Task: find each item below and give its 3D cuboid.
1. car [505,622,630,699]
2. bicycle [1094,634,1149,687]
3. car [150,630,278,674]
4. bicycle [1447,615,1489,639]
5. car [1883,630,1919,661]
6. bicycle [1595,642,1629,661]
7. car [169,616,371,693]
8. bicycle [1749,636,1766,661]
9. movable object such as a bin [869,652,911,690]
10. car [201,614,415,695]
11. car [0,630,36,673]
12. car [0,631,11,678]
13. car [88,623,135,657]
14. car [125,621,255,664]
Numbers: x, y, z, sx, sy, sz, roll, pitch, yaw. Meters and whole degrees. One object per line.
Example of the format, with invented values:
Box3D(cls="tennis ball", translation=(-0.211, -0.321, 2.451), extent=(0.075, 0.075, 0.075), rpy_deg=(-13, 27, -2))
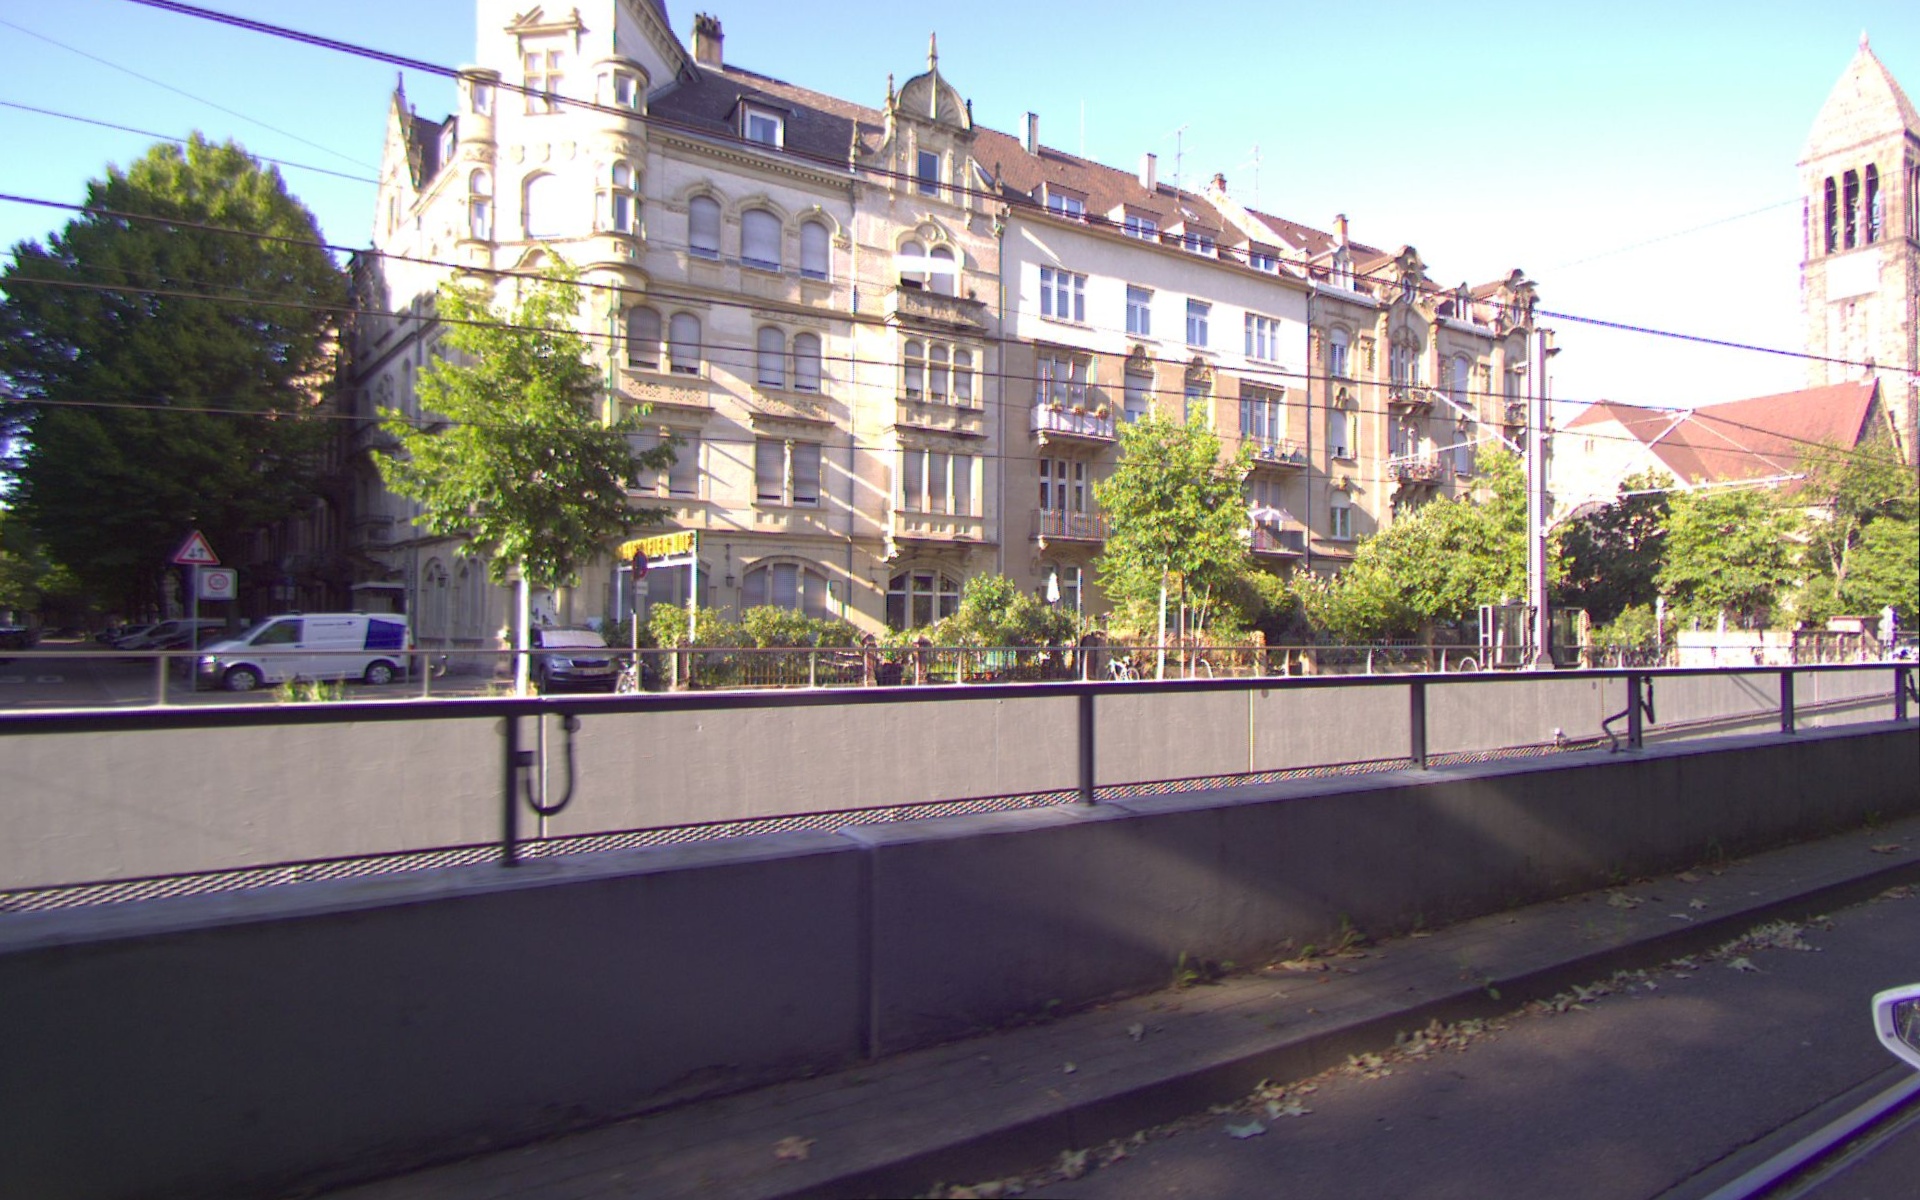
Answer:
Box3D(cls="car", translation=(-9.790, 1.424, 24.873), extent=(1.809, 1.646, 3.955), rpy_deg=(1, 0, -38))
Box3D(cls="bicycle", translation=(4.184, 1.550, 26.120), extent=(0.591, 1.296, 1.726), rpy_deg=(1, -2, -24))
Box3D(cls="car", translation=(-31.293, 2.130, 42.181), extent=(4.182, 1.627, 1.850), rpy_deg=(1, 1, -42))
Box3D(cls="bicycle", translation=(22.777, 1.222, 45.038), extent=(2.084, 1.032, 0.503), rpy_deg=(1, 1, -27))
Box3D(cls="car", translation=(52.495, 2.477, 54.878), extent=(4.454, 1.576, 1.708), rpy_deg=(1, 1, -29))
Box3D(cls="bicycle", translation=(29.026, 2.274, 44.705), extent=(1.863, 0.811, 0.415), rpy_deg=(1, 1, -28))
Box3D(cls="car", translation=(-19.129, 1.431, 27.953), extent=(4.447, 1.874, 1.975), rpy_deg=(1, 1, -42))
Box3D(cls="bicycle", translation=(35.551, 2.157, 44.801), extent=(0.479, 1.036, 1.886), rpy_deg=(2, 1, 36))
Box3D(cls="movable object such as a bin", translation=(-1.866, 1.885, 26.755), extent=(0.776, 0.932, 0.890), rpy_deg=(1, 1, -35))
Box3D(cls="car", translation=(-16.941, 1.328, 26.231), extent=(4.447, 1.874, 1.975), rpy_deg=(1, 1, -42))
Box3D(cls="car", translation=(-46.409, 2.481, 48.980), extent=(4.105, 1.771, 1.788), rpy_deg=(2, 1, 44))
Box3D(cls="car", translation=(-42.163, 2.321, 43.217), extent=(4.105, 1.771, 1.788), rpy_deg=(2, 1, 44))
Box3D(cls="car", translation=(-50.726, 2.369, 60.026), extent=(4.105, 1.771, 1.788), rpy_deg=(2, 1, 44))
Box3D(cls="car", translation=(-36.987, 2.004, 48.325), extent=(4.862, 1.871, 1.850), rpy_deg=(1, 1, -42))
